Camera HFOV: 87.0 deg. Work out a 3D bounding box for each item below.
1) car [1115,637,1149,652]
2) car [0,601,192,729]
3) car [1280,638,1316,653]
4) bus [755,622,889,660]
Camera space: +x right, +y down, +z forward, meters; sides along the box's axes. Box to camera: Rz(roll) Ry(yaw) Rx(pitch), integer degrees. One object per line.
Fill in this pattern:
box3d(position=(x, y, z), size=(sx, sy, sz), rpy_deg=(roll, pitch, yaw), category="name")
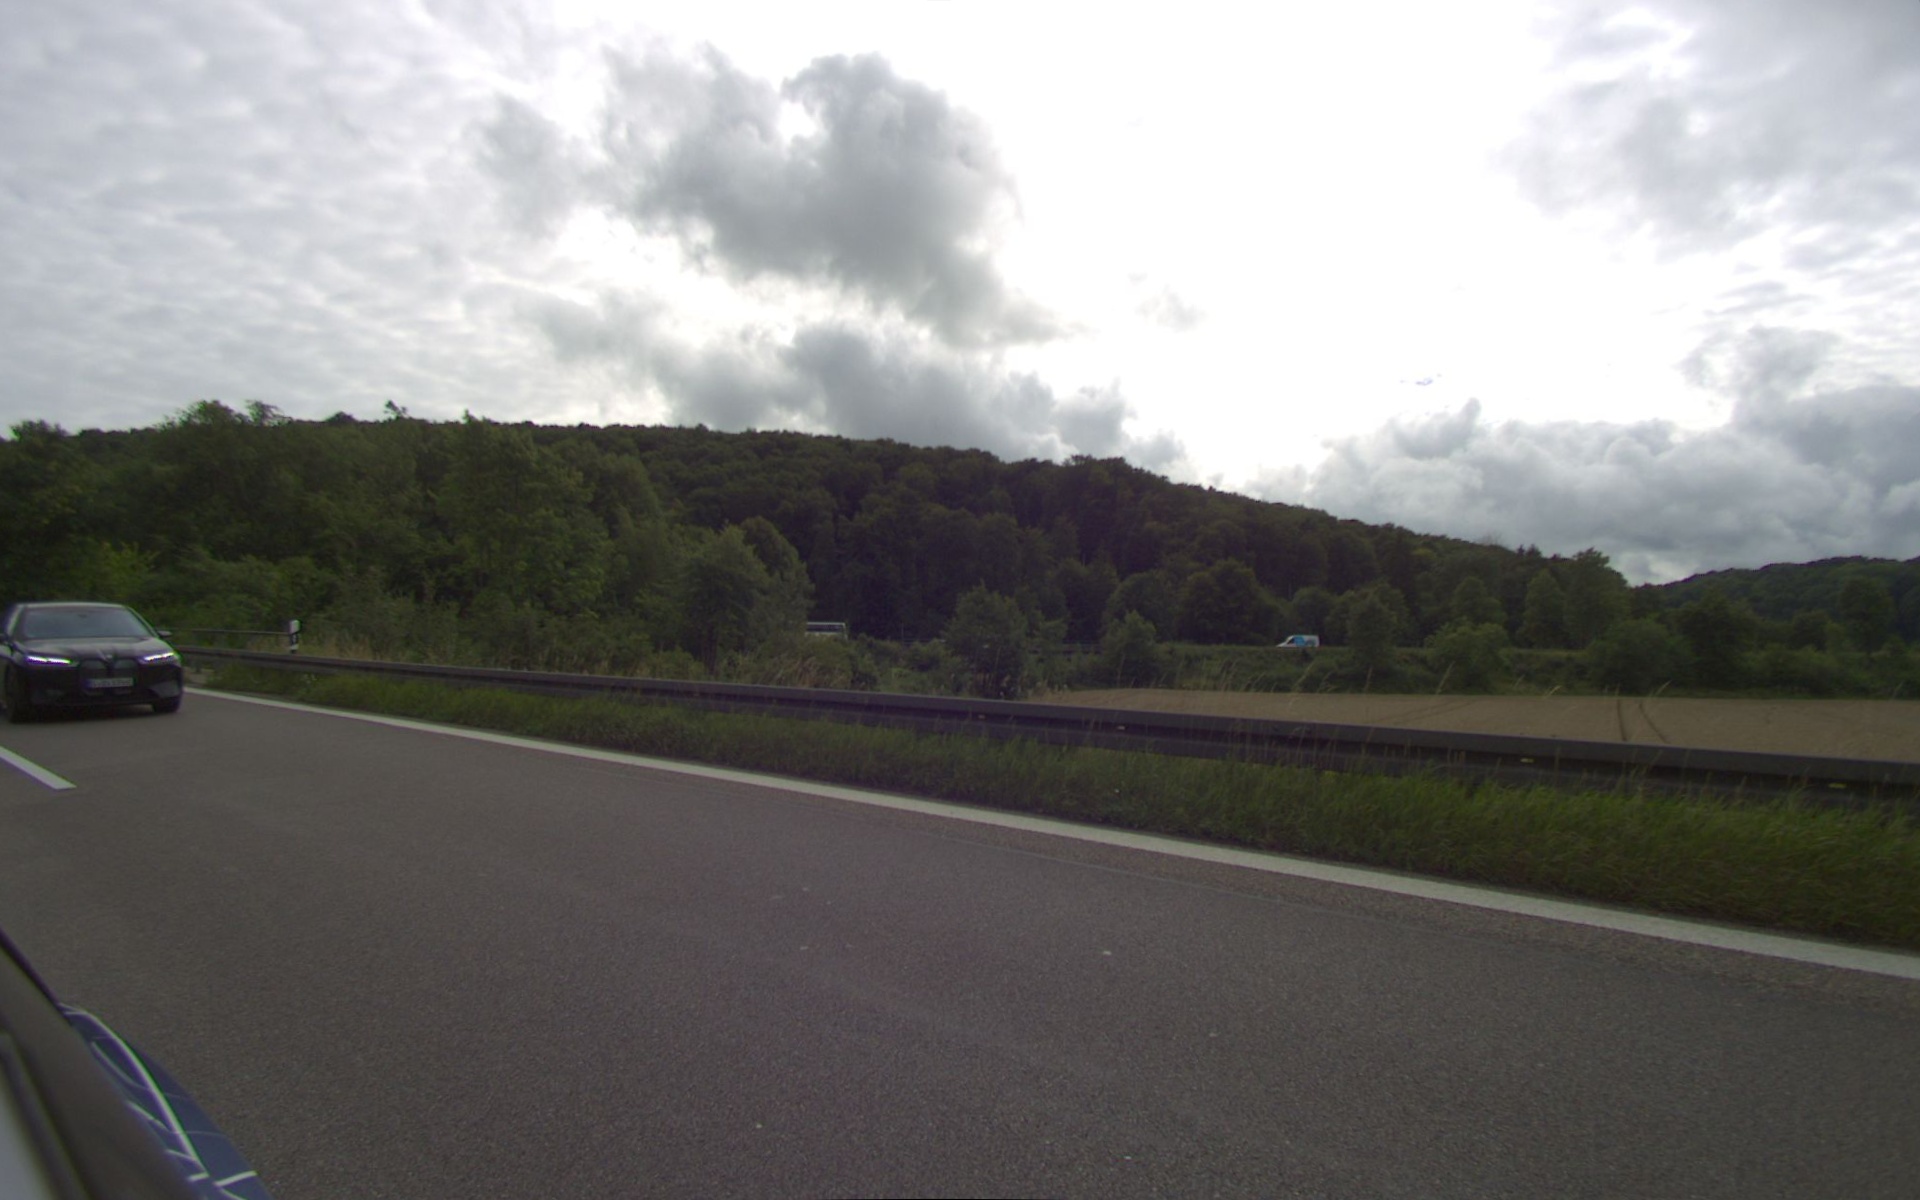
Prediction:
box3d(position=(24.015, 6.179, 141.321), size=(4.395, 1.822, 2.000), rpy_deg=(3, -4, 0), category="car")
box3d(position=(-13.586, 0.875, 15.549), size=(4.412, 1.678, 1.973), rpy_deg=(-1, 0, 41), category="car")
box3d(position=(47.268, 6.413, 141.559), size=(4.394, 1.822, 2.000), rpy_deg=(3, -4, -1), category="car")
box3d(position=(-19.273, 5.747, 142.756), size=(18.058, 4.977, 5.579), rpy_deg=(1, -3, 1), category="bus")
